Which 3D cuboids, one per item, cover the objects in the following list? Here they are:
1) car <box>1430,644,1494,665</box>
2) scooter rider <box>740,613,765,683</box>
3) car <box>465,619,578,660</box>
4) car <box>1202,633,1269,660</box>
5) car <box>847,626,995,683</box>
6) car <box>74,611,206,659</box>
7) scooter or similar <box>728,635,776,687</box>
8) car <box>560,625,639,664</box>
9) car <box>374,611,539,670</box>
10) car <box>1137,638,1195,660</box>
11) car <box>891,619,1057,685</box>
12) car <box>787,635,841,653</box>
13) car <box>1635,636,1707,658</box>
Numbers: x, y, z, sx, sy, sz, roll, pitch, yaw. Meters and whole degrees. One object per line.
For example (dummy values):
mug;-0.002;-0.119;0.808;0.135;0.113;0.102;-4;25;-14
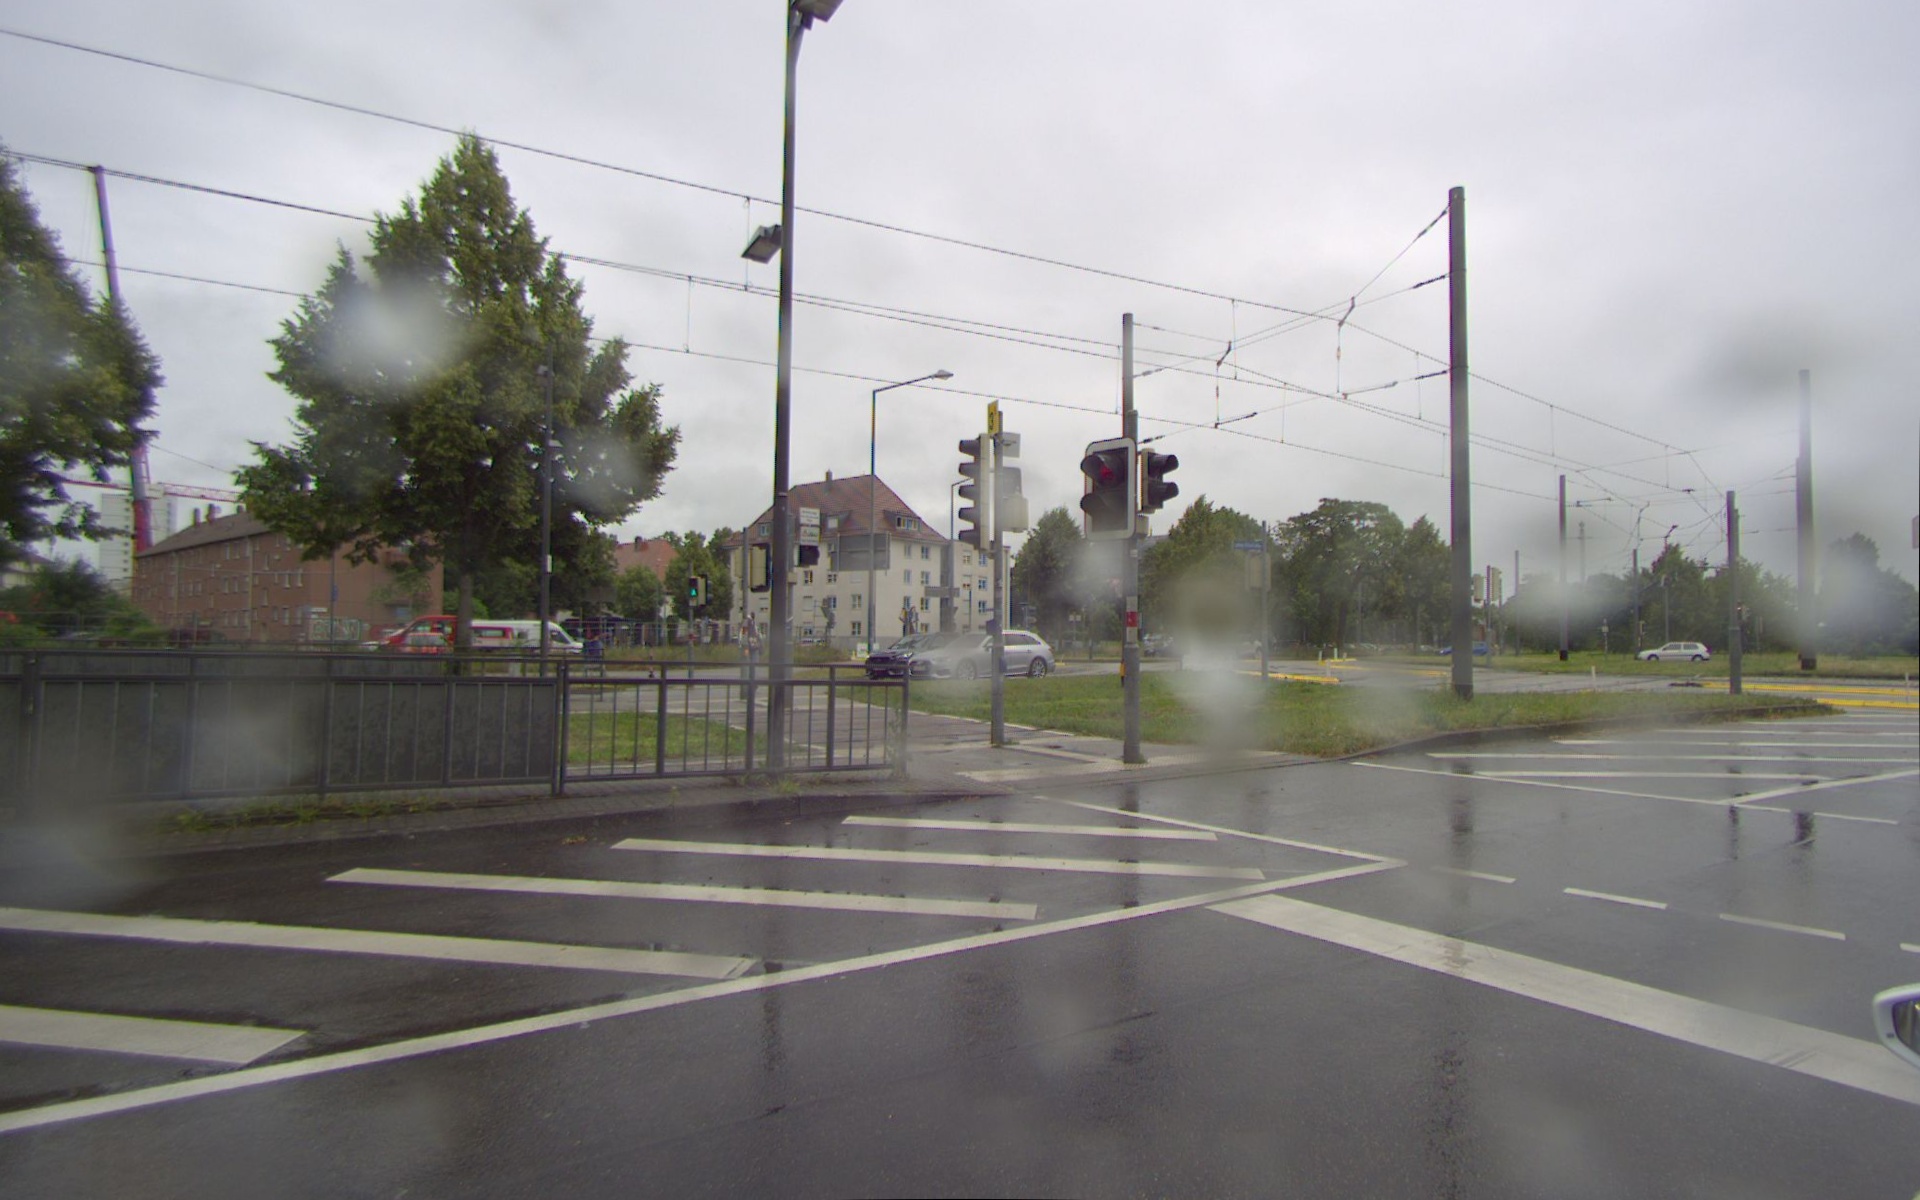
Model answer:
car;36.842;3.980;73.802;3.907;1.473;1.624;0;-2;16
scooter rider;-5.219;1.219;25.258;0.431;1.731;0.526;2;-4;-43
car;-25.929;2.342;59.630;6.004;2.308;1.617;1;-2;-18
car;15.699;2.629;57.158;4.077;1.473;1.605;2;-2;-39
car;-1.153;1.654;31.190;4.371;1.649;1.975;2;-2;-42
car;-45.372;1.960;55.769;5.441;2.485;1.980;3;0;-36
scooter or similar;-5.250;1.519;25.275;0.444;1.276;1.571;1;-3;-42
car;-37.636;4.574;104.614;10.793;3.770;2.447;0;-2;39
car;-22.373;1.810;44.955;6.389;2.502;1.616;1;-2;-20
car;14.710;3.487;71.837;3.907;1.473;1.624;0;-2;5
car;0.445;1.372;27.429;4.371;1.649;1.975;2;-2;-42
car;-12.006;3.589;82.507;4.546;1.473;1.618;-1;-2;35
car;48.133;3.168;68.091;3.920;1.473;1.619;-1;-2;34
